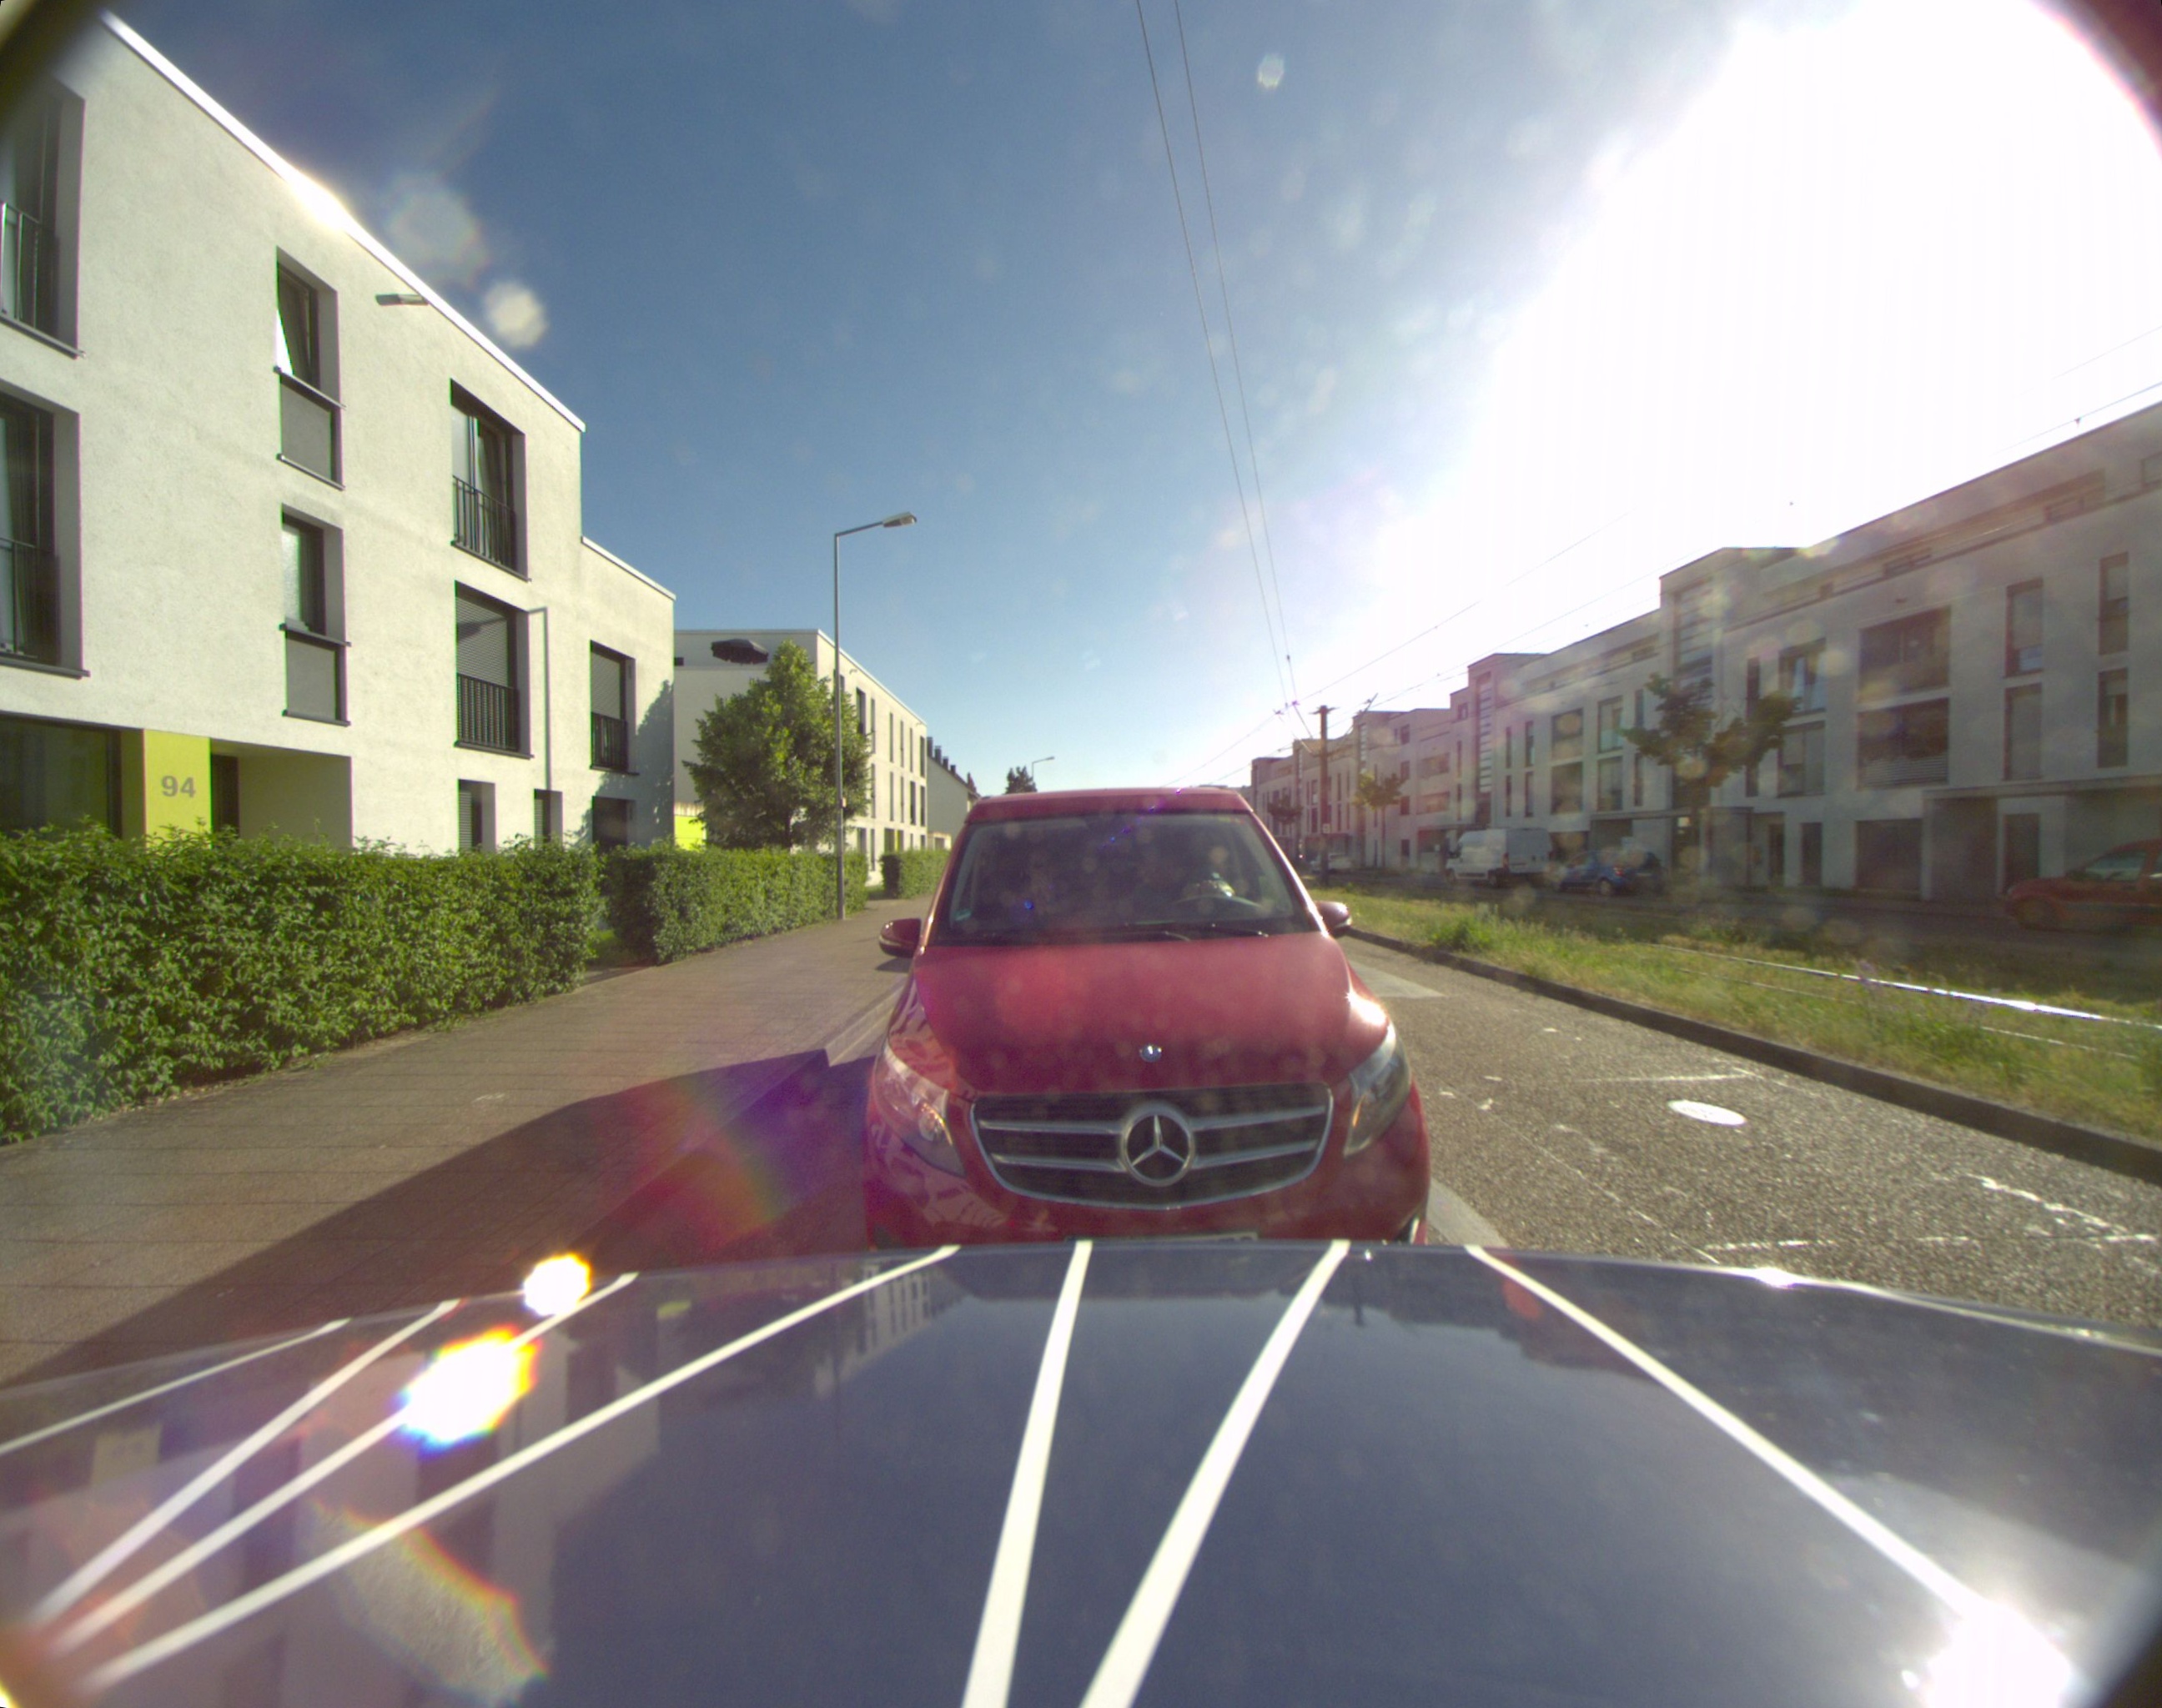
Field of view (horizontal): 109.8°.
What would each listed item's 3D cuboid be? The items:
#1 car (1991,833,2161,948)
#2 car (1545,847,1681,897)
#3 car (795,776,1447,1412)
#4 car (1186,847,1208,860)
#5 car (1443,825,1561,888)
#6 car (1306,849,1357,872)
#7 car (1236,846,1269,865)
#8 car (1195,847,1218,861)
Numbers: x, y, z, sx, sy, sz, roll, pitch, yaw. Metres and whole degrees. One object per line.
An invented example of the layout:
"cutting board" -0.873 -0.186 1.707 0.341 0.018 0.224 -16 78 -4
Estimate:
"car" 18.619 0.574 12.794 1.998 1.817 3.895 -2 1 3
"car" 18.378 0.570 26.485 1.999 1.536 3.835 -2 1 0
"car" 0.154 0.700 4.513 1.874 1.843 4.506 -2 1 1
"car" 15.189 -0.075 99.643 1.923 1.671 4.282 -2 1 -4
"car" 18.171 0.068 33.156 2.225 2.458 5.195 -2 1 0
"car" 17.636 0.405 53.725 1.923 1.497 4.282 -2 1 -4
"car" 16.720 0.121 74.340 1.923 1.671 4.282 -2 1 -4
"car" 15.475 -0.052 93.891 1.923 1.671 4.282 -2 1 -4
